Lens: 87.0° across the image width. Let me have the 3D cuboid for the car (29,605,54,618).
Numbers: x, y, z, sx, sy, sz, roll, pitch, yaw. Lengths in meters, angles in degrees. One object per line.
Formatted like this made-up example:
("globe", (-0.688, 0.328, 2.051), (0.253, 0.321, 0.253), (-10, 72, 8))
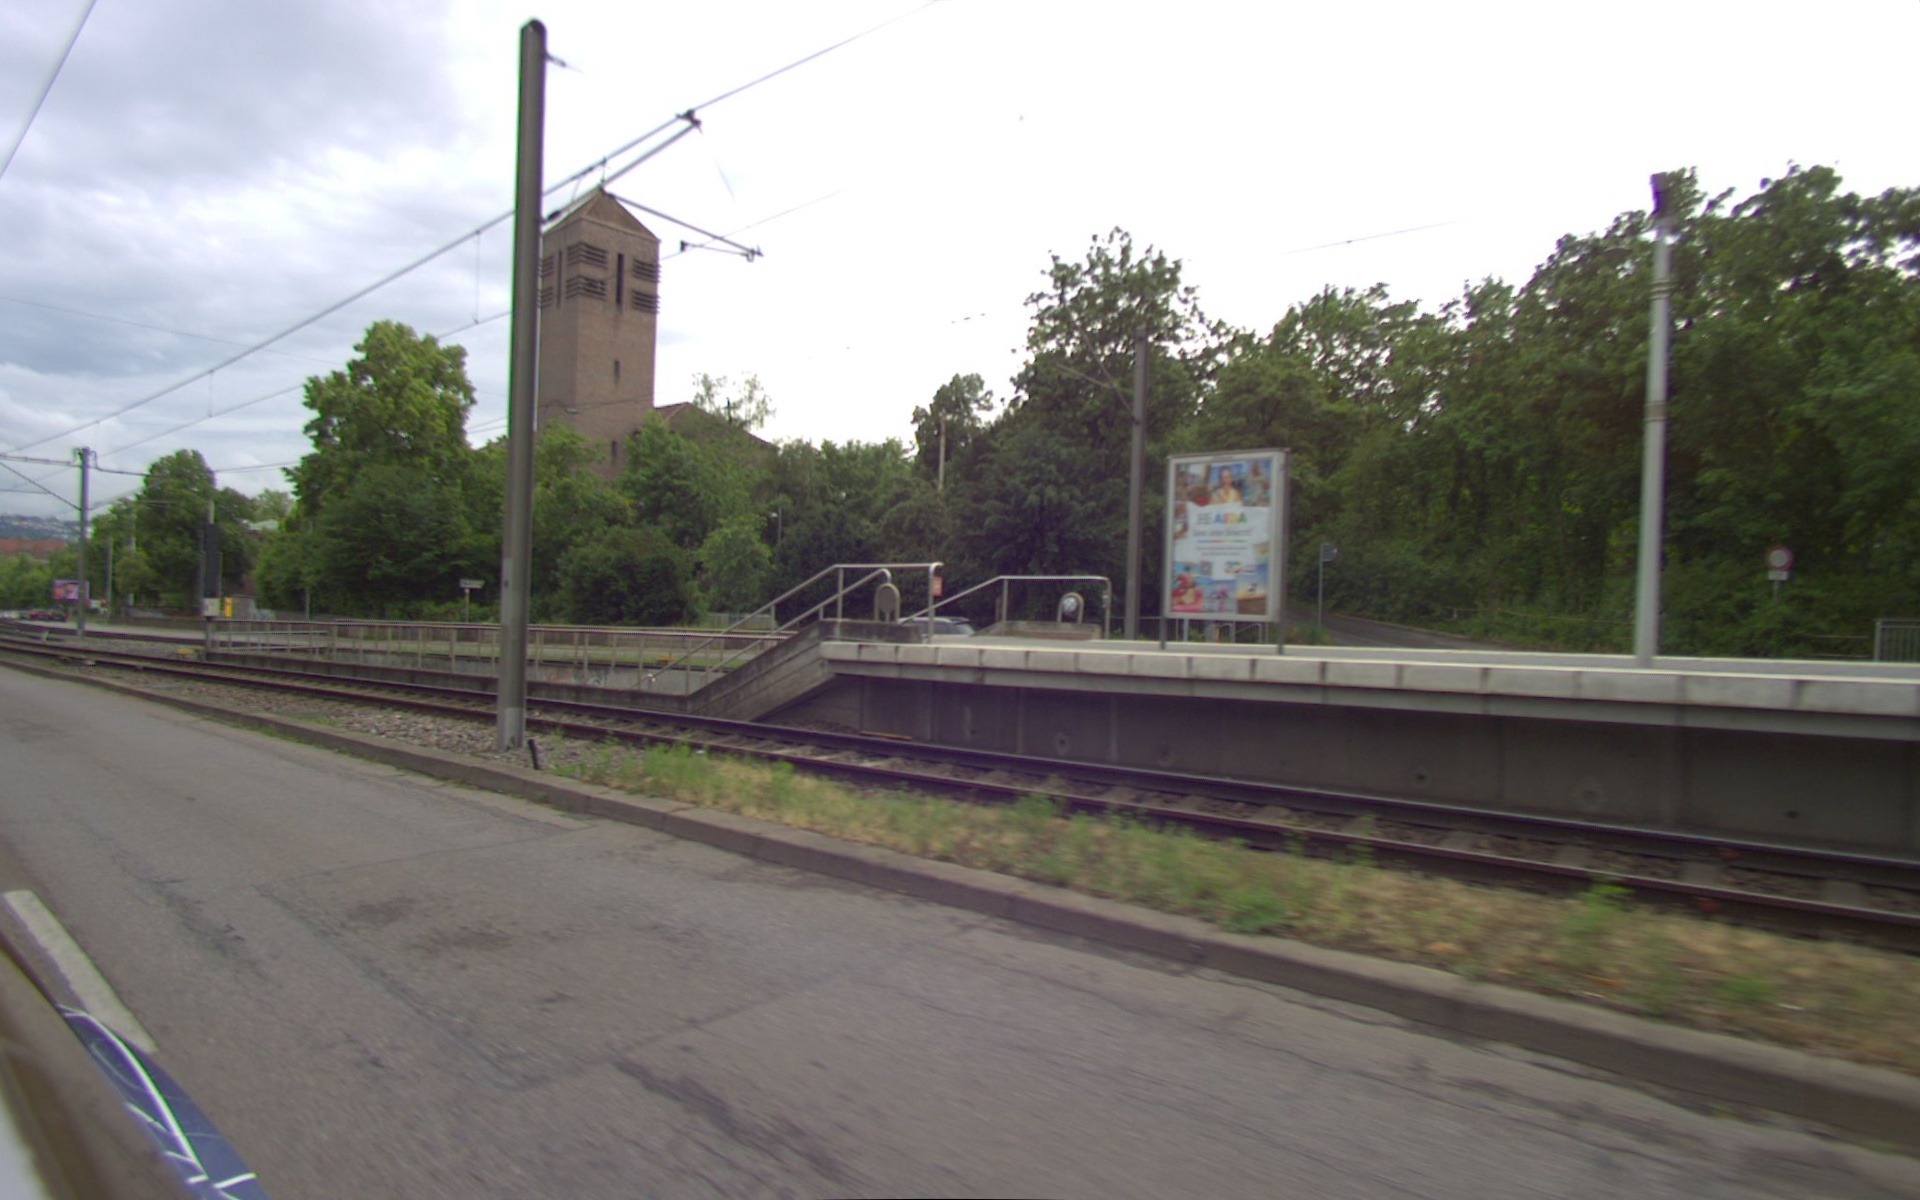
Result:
("car", (-123.206, 1.552, 135.717), (4.524, 1.656, 1.972), (0, -3, 42))

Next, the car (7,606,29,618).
("car", (-135.440, 1.713, 145.512), (4.411, 1.656, 1.972), (0, -3, 42))

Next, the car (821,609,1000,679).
("car", (-1.361, 1.088, 26.614), (4.511, 1.636, 1.975), (0, 0, 37))

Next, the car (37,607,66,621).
("car", (-105.031, 1.633, 117.037), (4.319, 1.452, 1.945), (0, -2, 41))

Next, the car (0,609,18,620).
("car", (-148.102, 2.259, 157.602), (3.984, 1.479, 1.728), (0, -4, 42))
